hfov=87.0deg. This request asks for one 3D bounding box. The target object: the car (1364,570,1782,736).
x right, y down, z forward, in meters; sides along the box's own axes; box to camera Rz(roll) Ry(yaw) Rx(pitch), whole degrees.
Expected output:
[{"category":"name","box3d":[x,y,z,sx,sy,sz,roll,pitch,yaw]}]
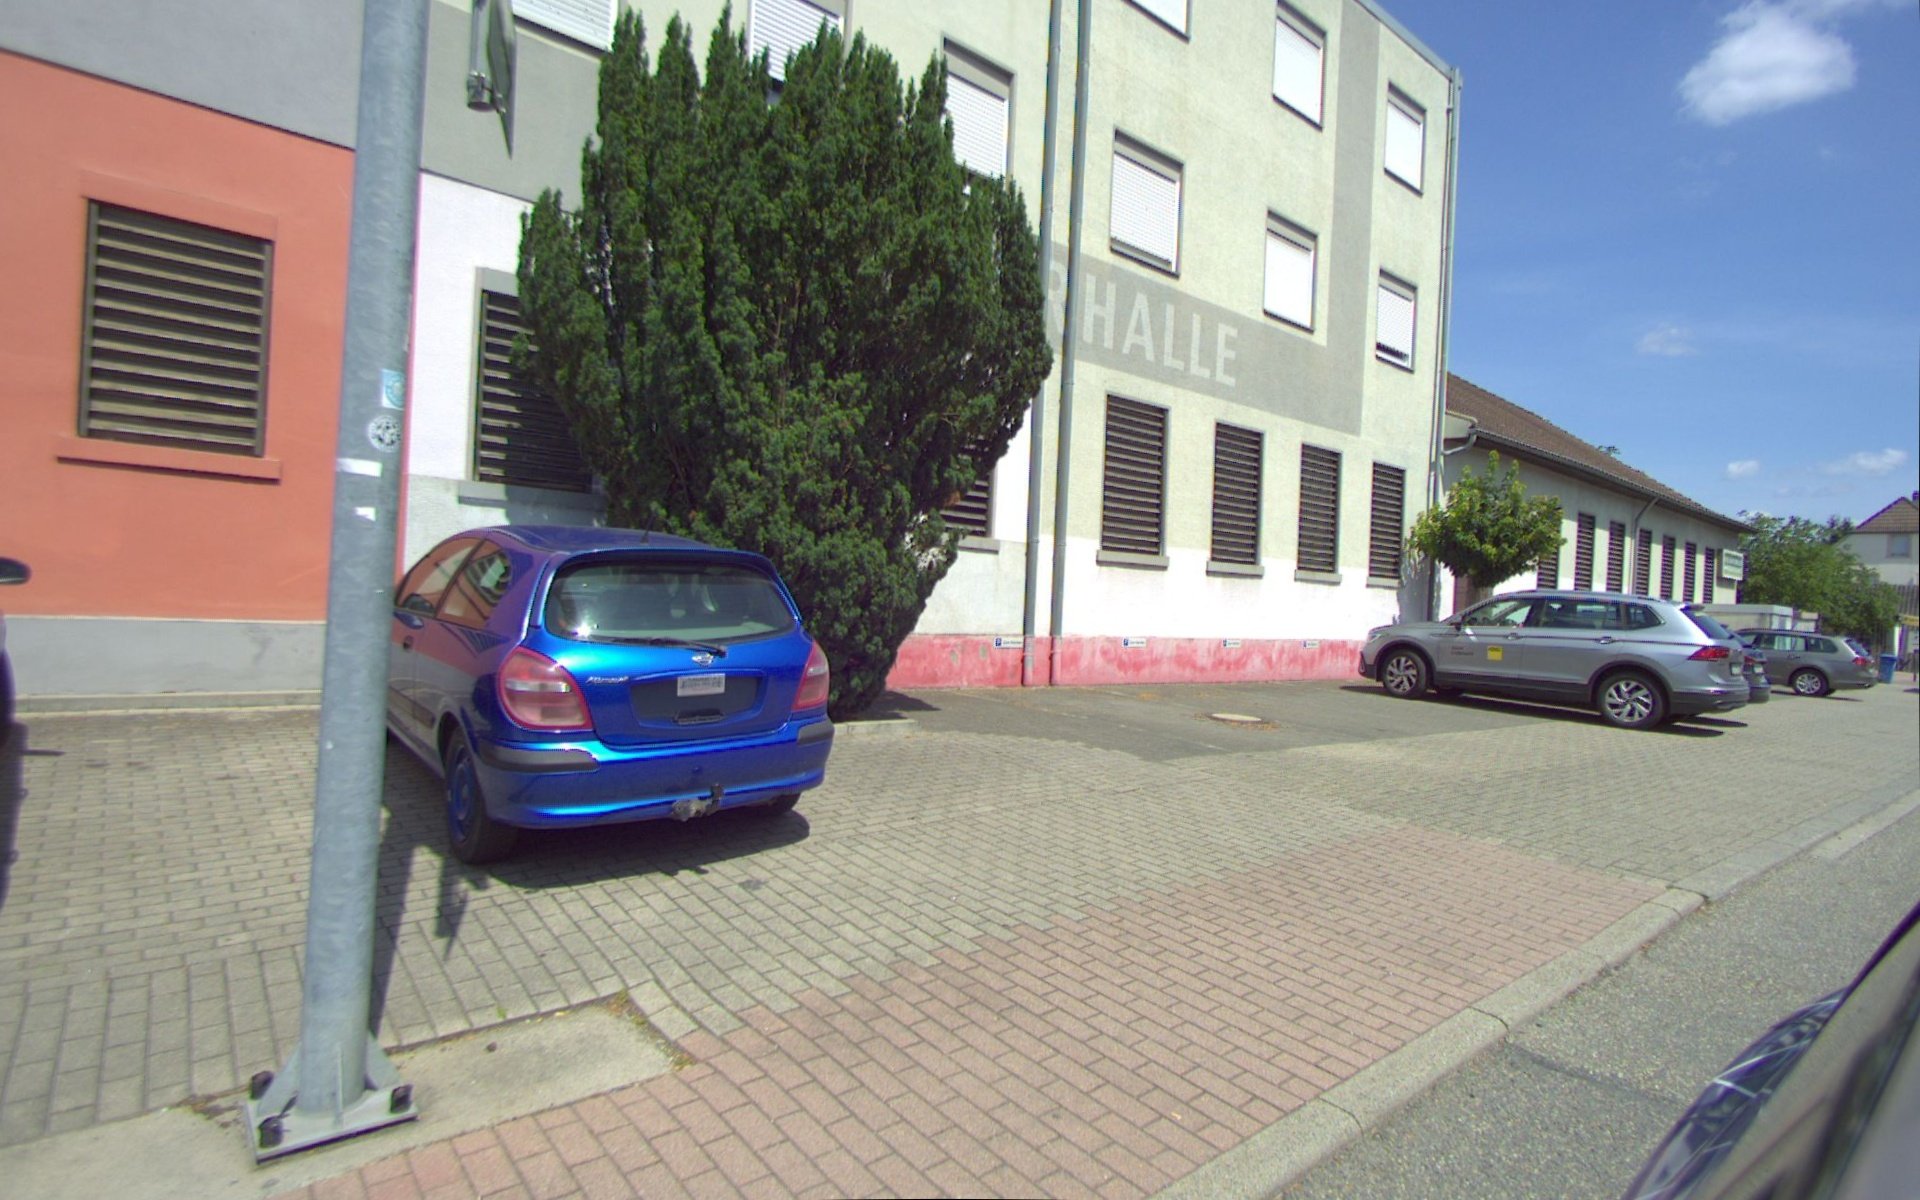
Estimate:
[{"category":"car","box3d":[8.139,0.580,13.797,1.889,1.718,4.461,3,2,-42]}]

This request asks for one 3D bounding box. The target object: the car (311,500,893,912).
[{"category":"car","box3d":[-2.409,0.220,5.905,1.749,1.456,4.333,-1,6,-41]}]

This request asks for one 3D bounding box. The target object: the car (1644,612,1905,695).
[{"category":"car","box3d":[19.330,1.207,24.190,1.884,1.472,4.538,3,2,-40]}]

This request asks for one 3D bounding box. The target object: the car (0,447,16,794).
[{"category":"car","box3d":[-4.816,0.140,3.783,1.779,1.507,3.906,0,7,-42]}]

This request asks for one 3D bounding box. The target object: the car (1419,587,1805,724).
[{"category":"car","box3d":[9.710,0.730,15.394,1.965,1.538,4.510,3,2,-41]}]
